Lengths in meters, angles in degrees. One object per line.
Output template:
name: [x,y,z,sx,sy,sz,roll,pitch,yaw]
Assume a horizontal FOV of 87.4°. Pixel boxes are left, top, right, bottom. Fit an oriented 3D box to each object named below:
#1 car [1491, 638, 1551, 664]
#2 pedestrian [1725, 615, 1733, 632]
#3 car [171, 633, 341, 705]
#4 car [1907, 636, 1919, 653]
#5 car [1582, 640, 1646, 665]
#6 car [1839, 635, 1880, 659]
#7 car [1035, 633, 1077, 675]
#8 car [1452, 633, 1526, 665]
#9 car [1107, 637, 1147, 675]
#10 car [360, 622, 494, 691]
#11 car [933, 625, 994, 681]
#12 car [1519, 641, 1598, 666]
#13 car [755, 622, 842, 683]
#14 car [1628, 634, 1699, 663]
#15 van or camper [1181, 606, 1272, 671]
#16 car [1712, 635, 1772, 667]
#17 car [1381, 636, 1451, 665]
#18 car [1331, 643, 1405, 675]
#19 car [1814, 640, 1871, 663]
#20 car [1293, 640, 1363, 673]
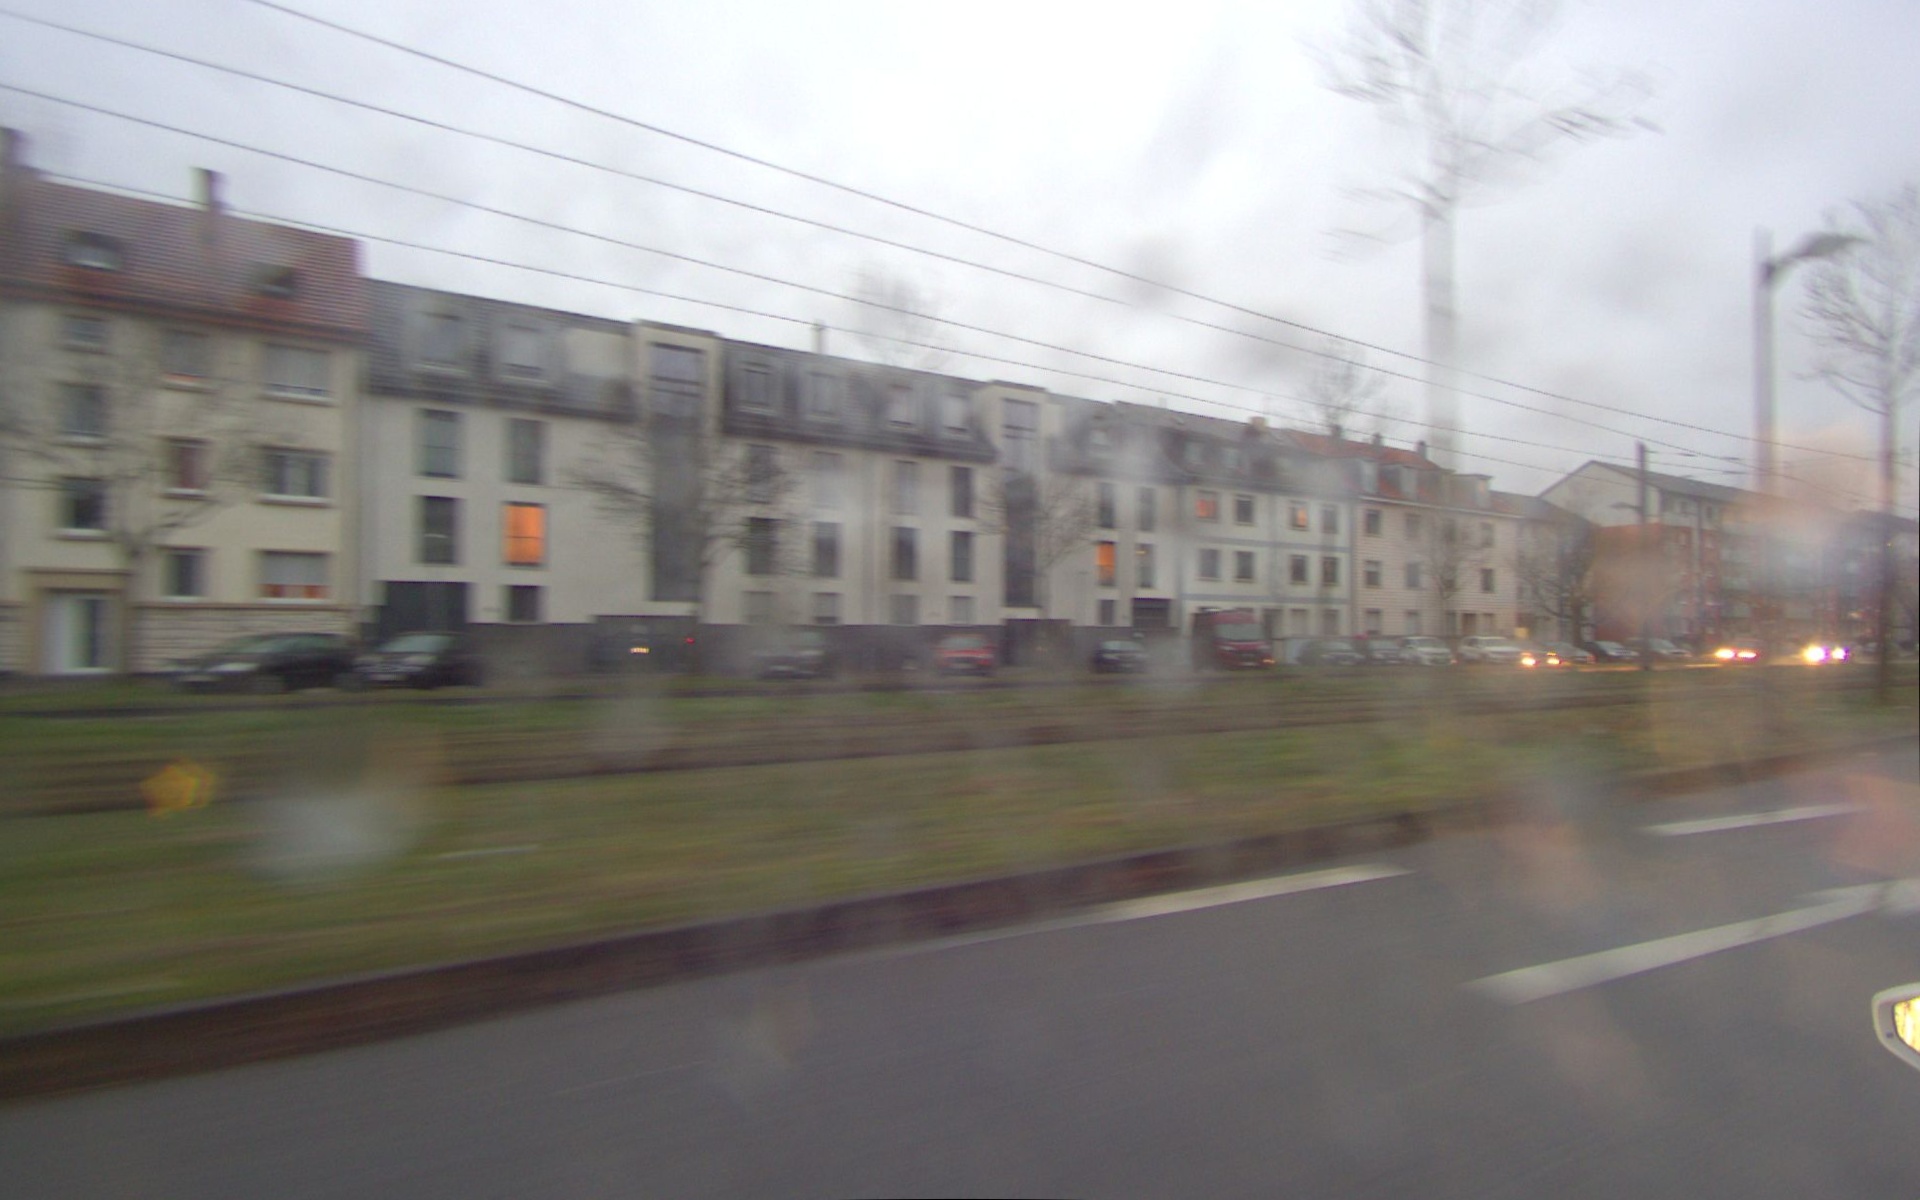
car: [29.437,2.671,52.802,1.370,1.162,3.044,1,0,-2]
pedestrian: [54.891,1.661,71.687,0.339,1.200,0.434,1,0,16]
car: [-15.560,1.487,22.368,1.703,1.354,2.936,1,0,-1]
car: [94.919,4.352,98.787,3.692,1.618,1.918,2,0,-37]
car: [38.175,3.032,58.685,1.424,1.355,3.770,0,-1,3]
car: [81.241,4.233,90.705,3.963,2.040,1.979,2,0,-37]
car: [3.507,1.928,36.386,1.360,1.320,3.099,1,0,8]
car: [26.759,2.461,50.947,1.737,1.397,4.126,1,0,4]
car: [6.069,2.013,36.728,1.360,1.220,2.890,1,0,8]
car: [-12.776,1.311,24.297,1.638,1.441,3.383,1,0,-5]
car: [0.177,1.705,33.197,1.707,1.610,3.851,1,0,4]
car: [32.255,2.862,54.299,1.648,1.131,4.188,1,0,-2]
car: [-4.667,1.492,29.588,1.636,1.561,4.164,1,0,3]
car: [43.151,2.966,61.708,1.708,1.576,3.798,1,0,0]
van or camper: [10.815,1.489,41.299,1.960,2.391,6.882,1,0,1]
car: [43.265,2.782,55.543,3.472,1.645,1.604,2,0,-34]
car: [21.442,2.370,47.320,1.658,1.162,3.418,1,0,-1]
car: [18.432,2.656,45.575,1.846,1.216,3.540,1,0,-1]
car: [61.215,3.546,69.677,4.741,1.522,1.868,2,0,-34]
car: [16.151,2.463,44.259,1.713,1.228,3.540,1,0,-1]
